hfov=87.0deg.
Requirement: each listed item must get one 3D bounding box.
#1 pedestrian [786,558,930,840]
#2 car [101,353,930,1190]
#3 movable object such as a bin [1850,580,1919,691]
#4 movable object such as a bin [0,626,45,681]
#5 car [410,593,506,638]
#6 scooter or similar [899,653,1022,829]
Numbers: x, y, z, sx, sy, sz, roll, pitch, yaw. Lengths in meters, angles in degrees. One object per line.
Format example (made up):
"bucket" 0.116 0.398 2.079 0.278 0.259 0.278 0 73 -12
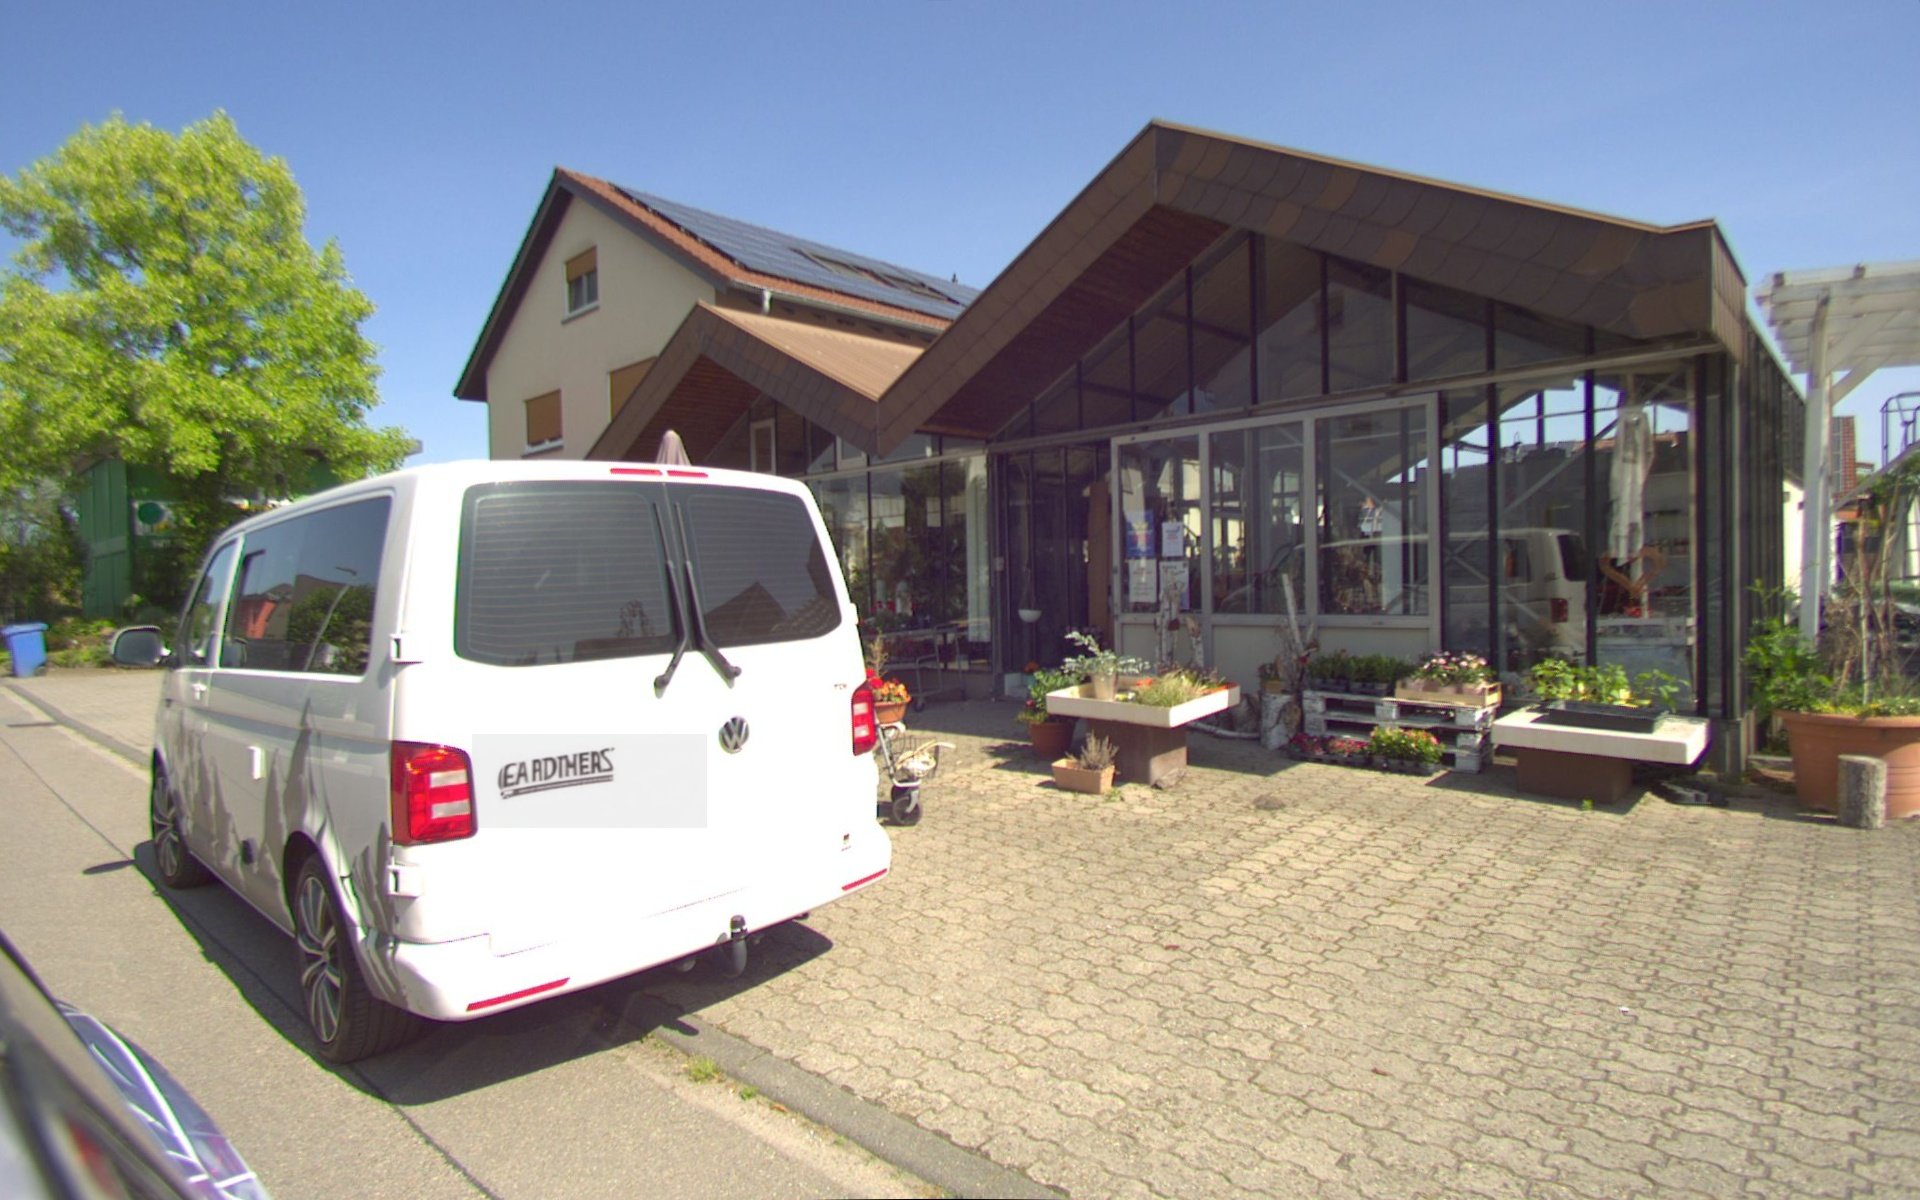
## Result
"pedestrian" -0.626 0.550 6.037 0.707 1.550 0.644 -2 1 -14
"car" -2.546 0.408 4.852 4.897 2.029 1.907 -1 1 44
"movable object such as a bin" 9.507 0.341 10.202 0.714 1.076 0.799 -1 1 36
"movable object such as a bin" -19.756 1.114 21.244 0.612 1.062 0.723 -1 2 43
"car" -18.735 0.533 37.719 4.000 1.458 1.837 1 4 43
"scooter or similar" -0.012 0.830 6.182 0.592 0.953 0.623 -2 0 -14
